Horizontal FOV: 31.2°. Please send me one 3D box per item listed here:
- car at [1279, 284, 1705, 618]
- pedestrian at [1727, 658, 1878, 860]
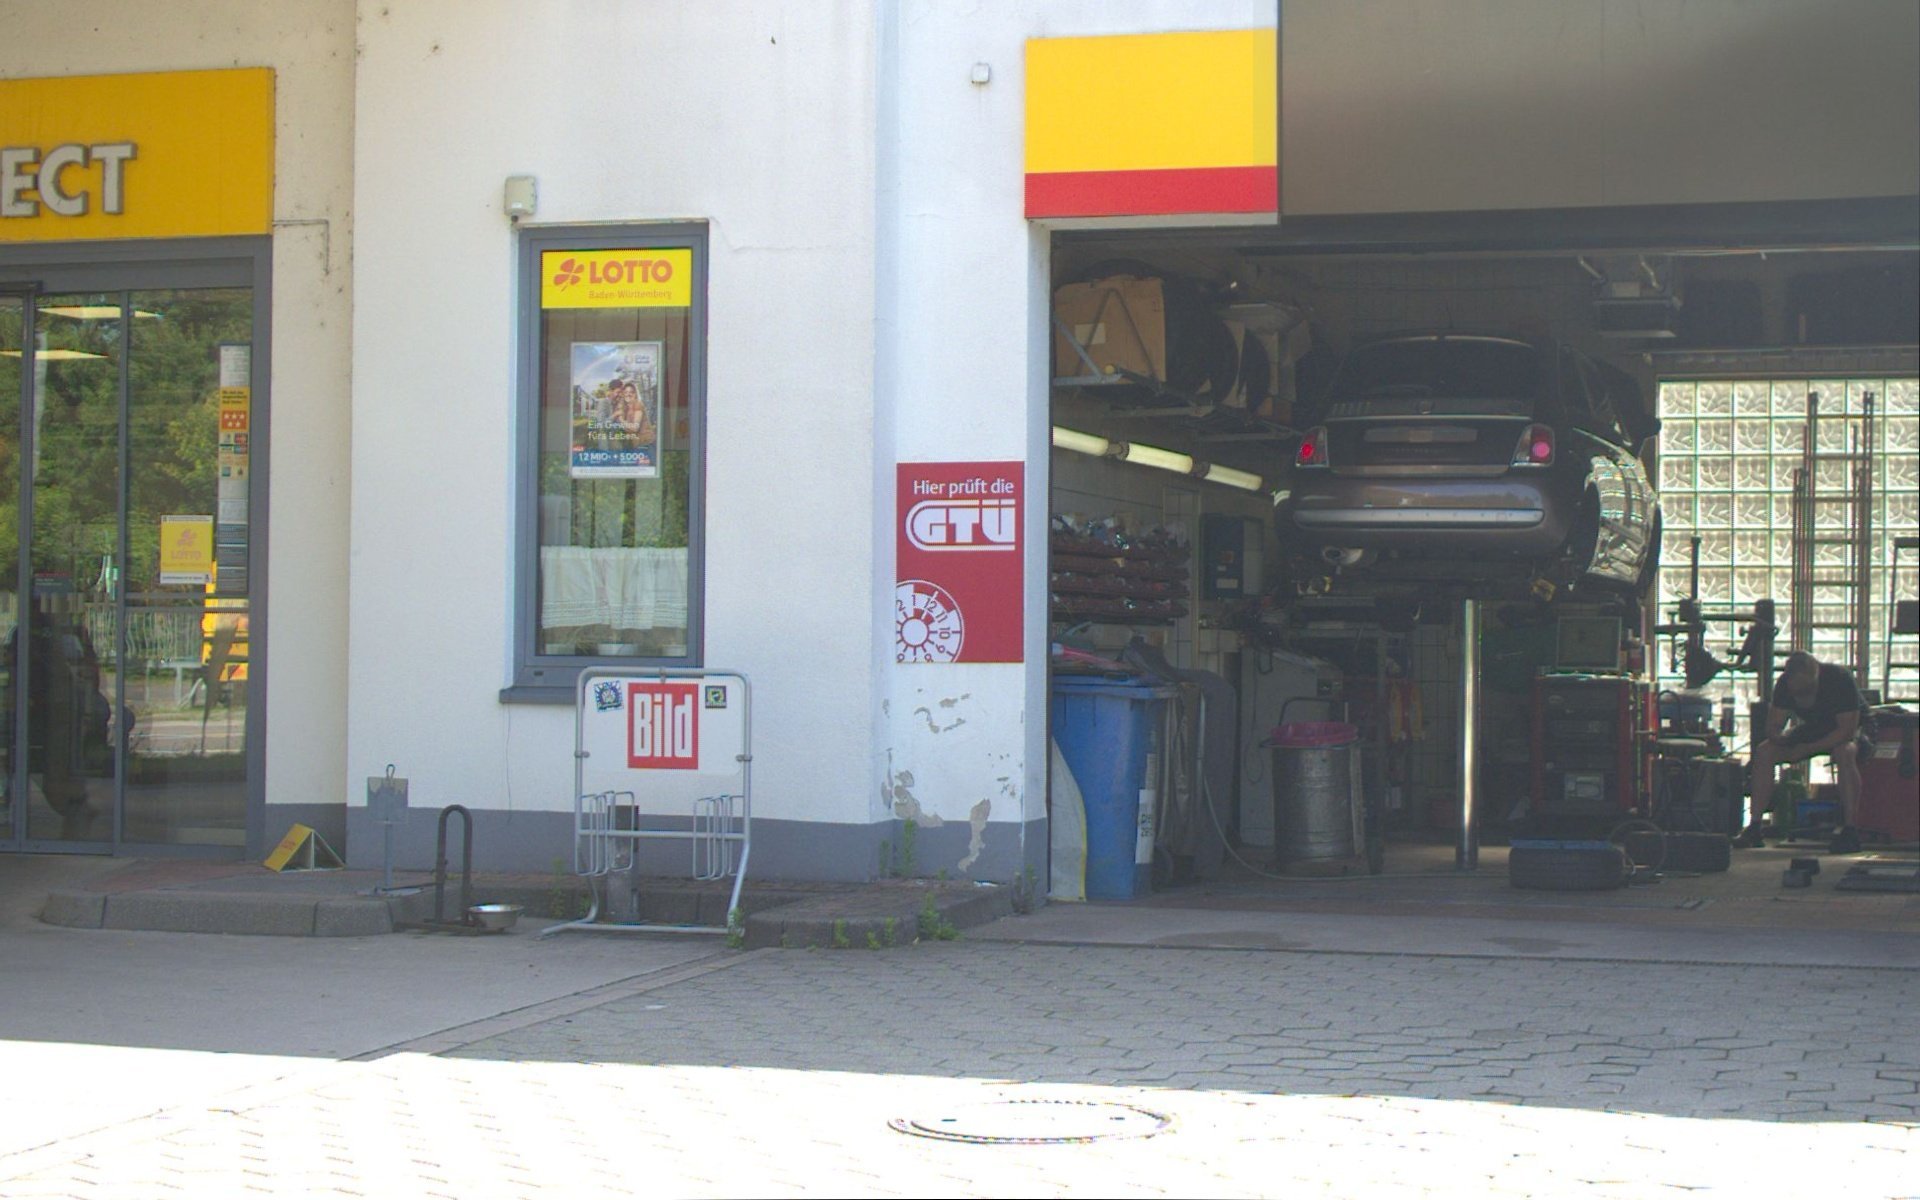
[{"bbox_3d":[3.052,-0.723,19.073,1.648,1.481,3.995,0,-3,19],"label":"car"},{"bbox_3d":[5.135,0.966,20.936,0.864,1.194,0.742,0,-3,16],"label":"pedestrian"}]
